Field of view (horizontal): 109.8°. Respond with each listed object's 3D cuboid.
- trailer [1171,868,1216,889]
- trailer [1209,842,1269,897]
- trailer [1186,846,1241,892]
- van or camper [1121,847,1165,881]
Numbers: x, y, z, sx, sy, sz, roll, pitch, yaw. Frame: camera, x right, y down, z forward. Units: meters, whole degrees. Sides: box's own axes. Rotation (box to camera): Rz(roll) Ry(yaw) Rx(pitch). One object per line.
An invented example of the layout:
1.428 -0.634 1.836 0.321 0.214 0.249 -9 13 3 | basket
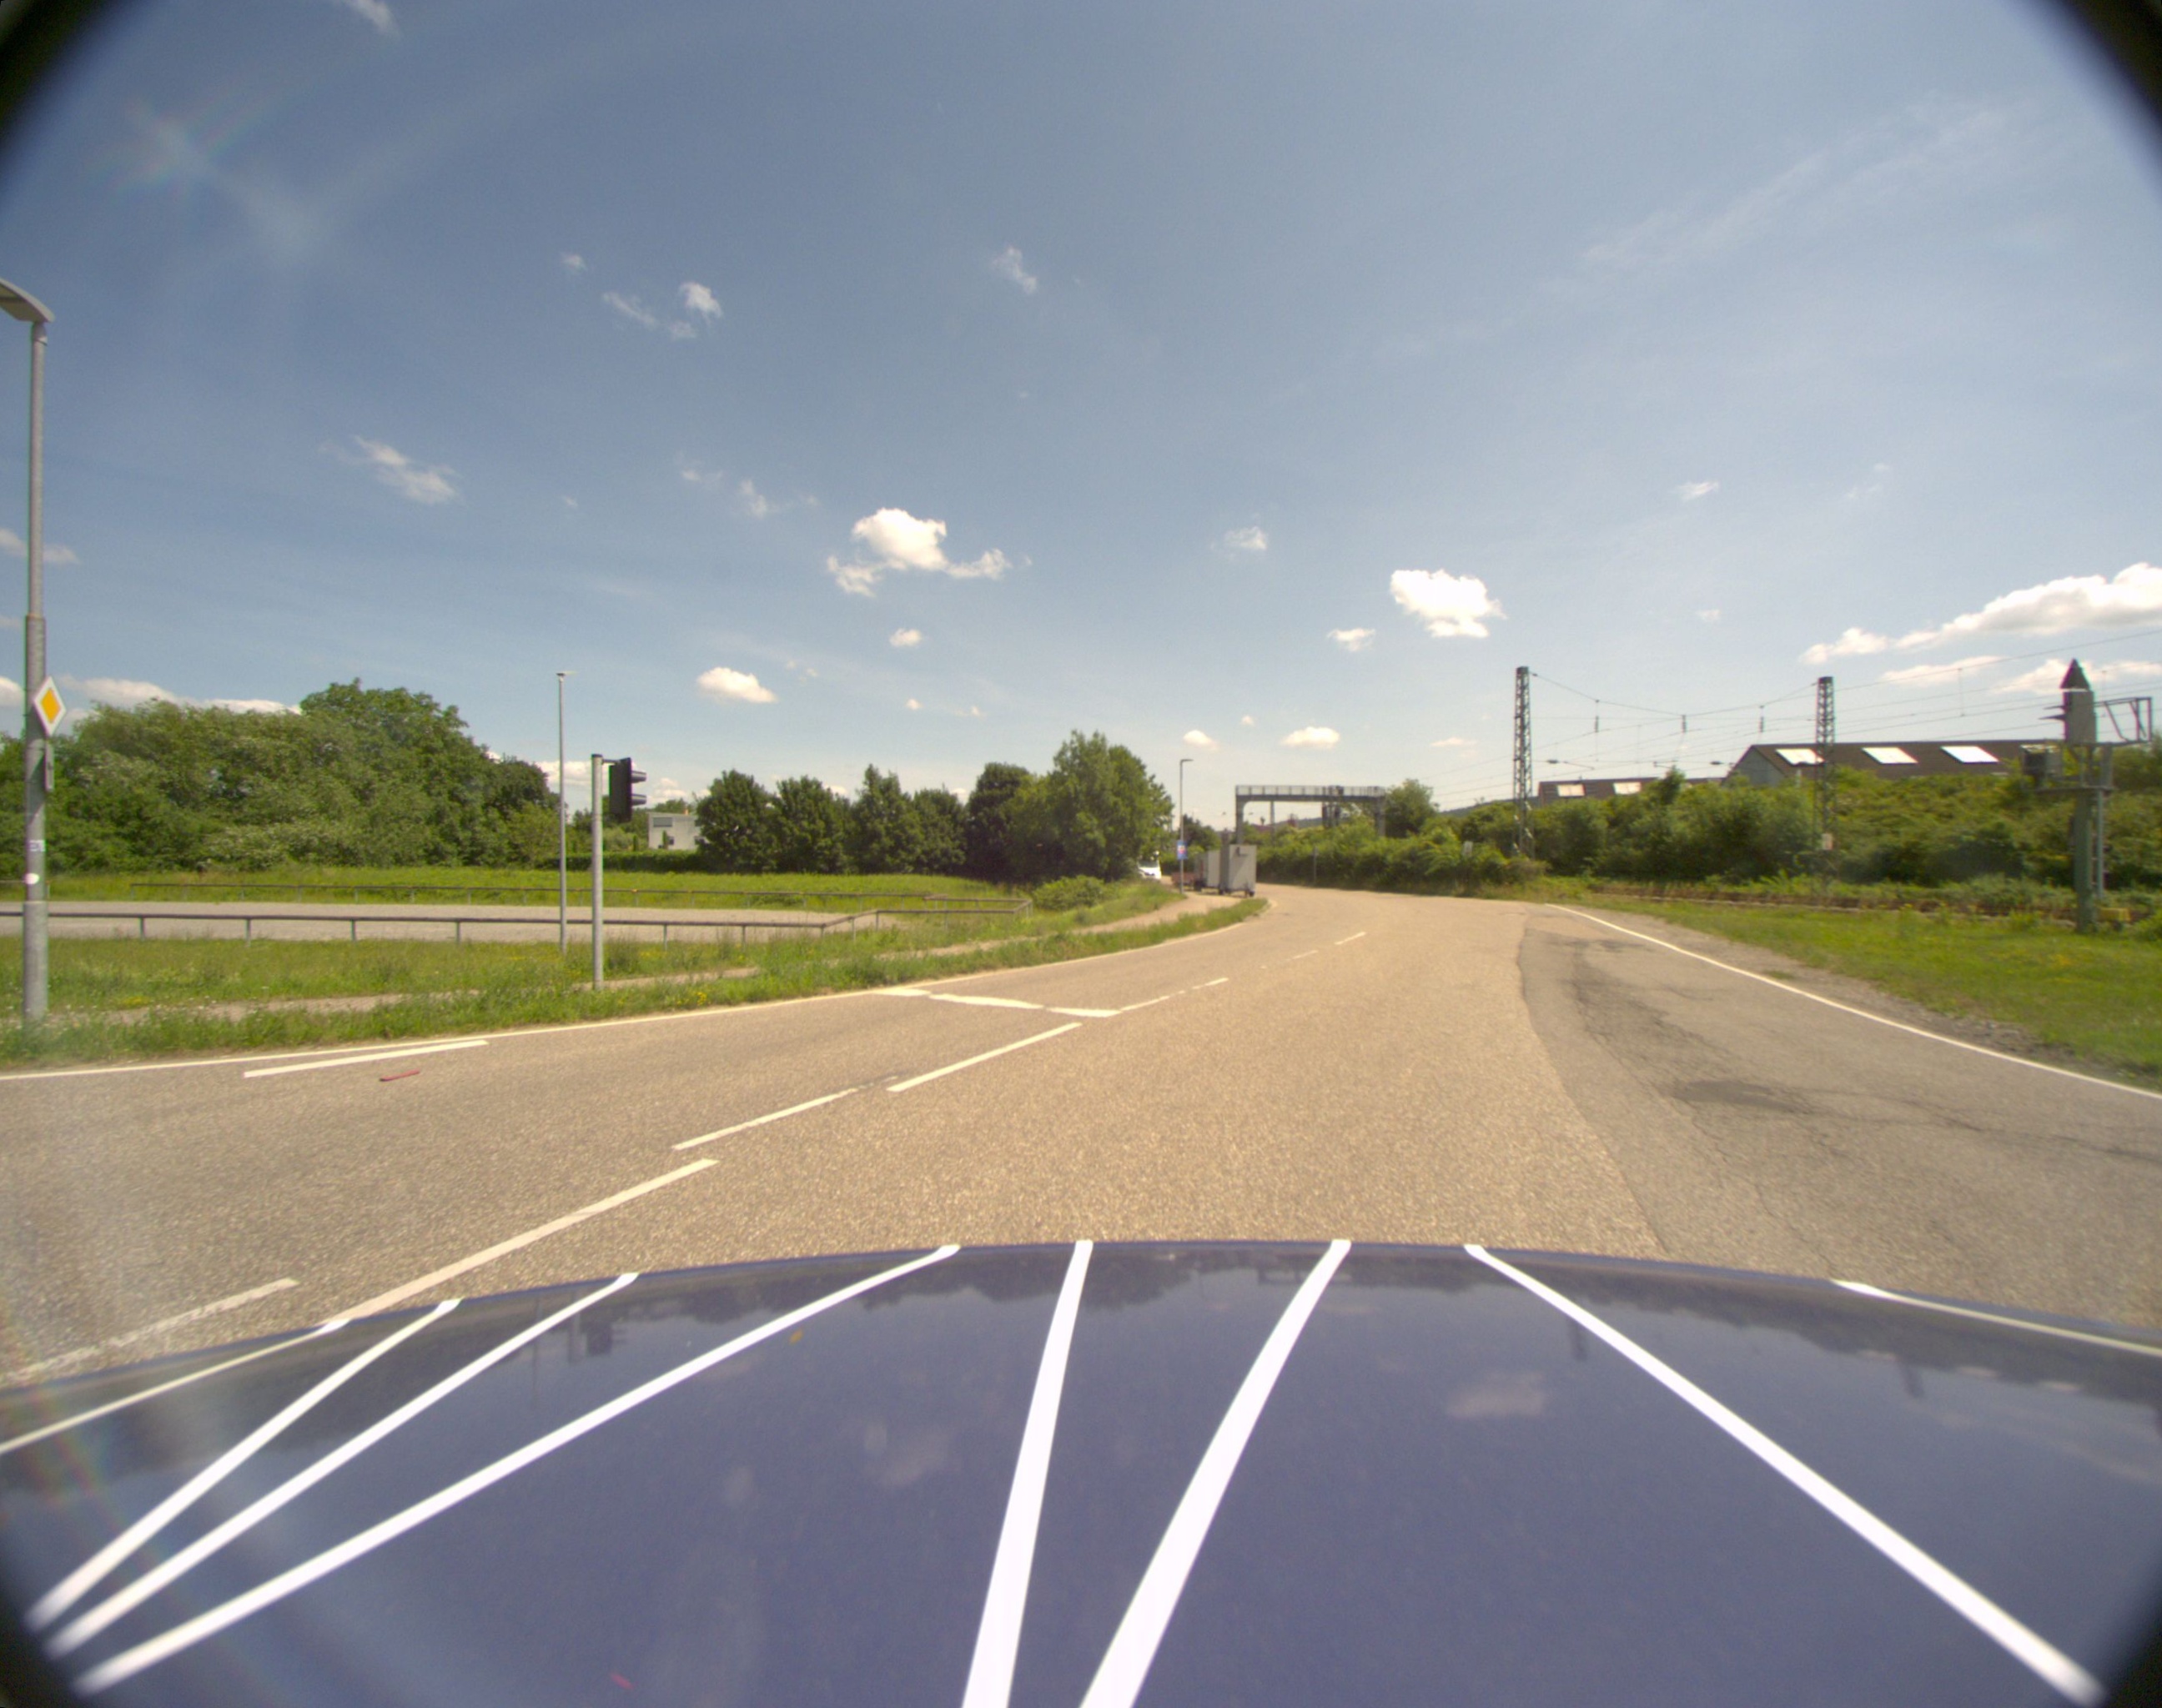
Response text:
7.258 1.545 49.422 2.010 1.116 4.487 2 0 -3 | trailer
8.189 0.798 39.883 1.938 2.628 5.184 2 0 0 | trailer
7.793 0.881 45.110 1.924 2.493 4.738 2 0 -5 | trailer
5.436 0.903 67.677 2.446 2.810 7.619 1 0 -6 | van or camper
